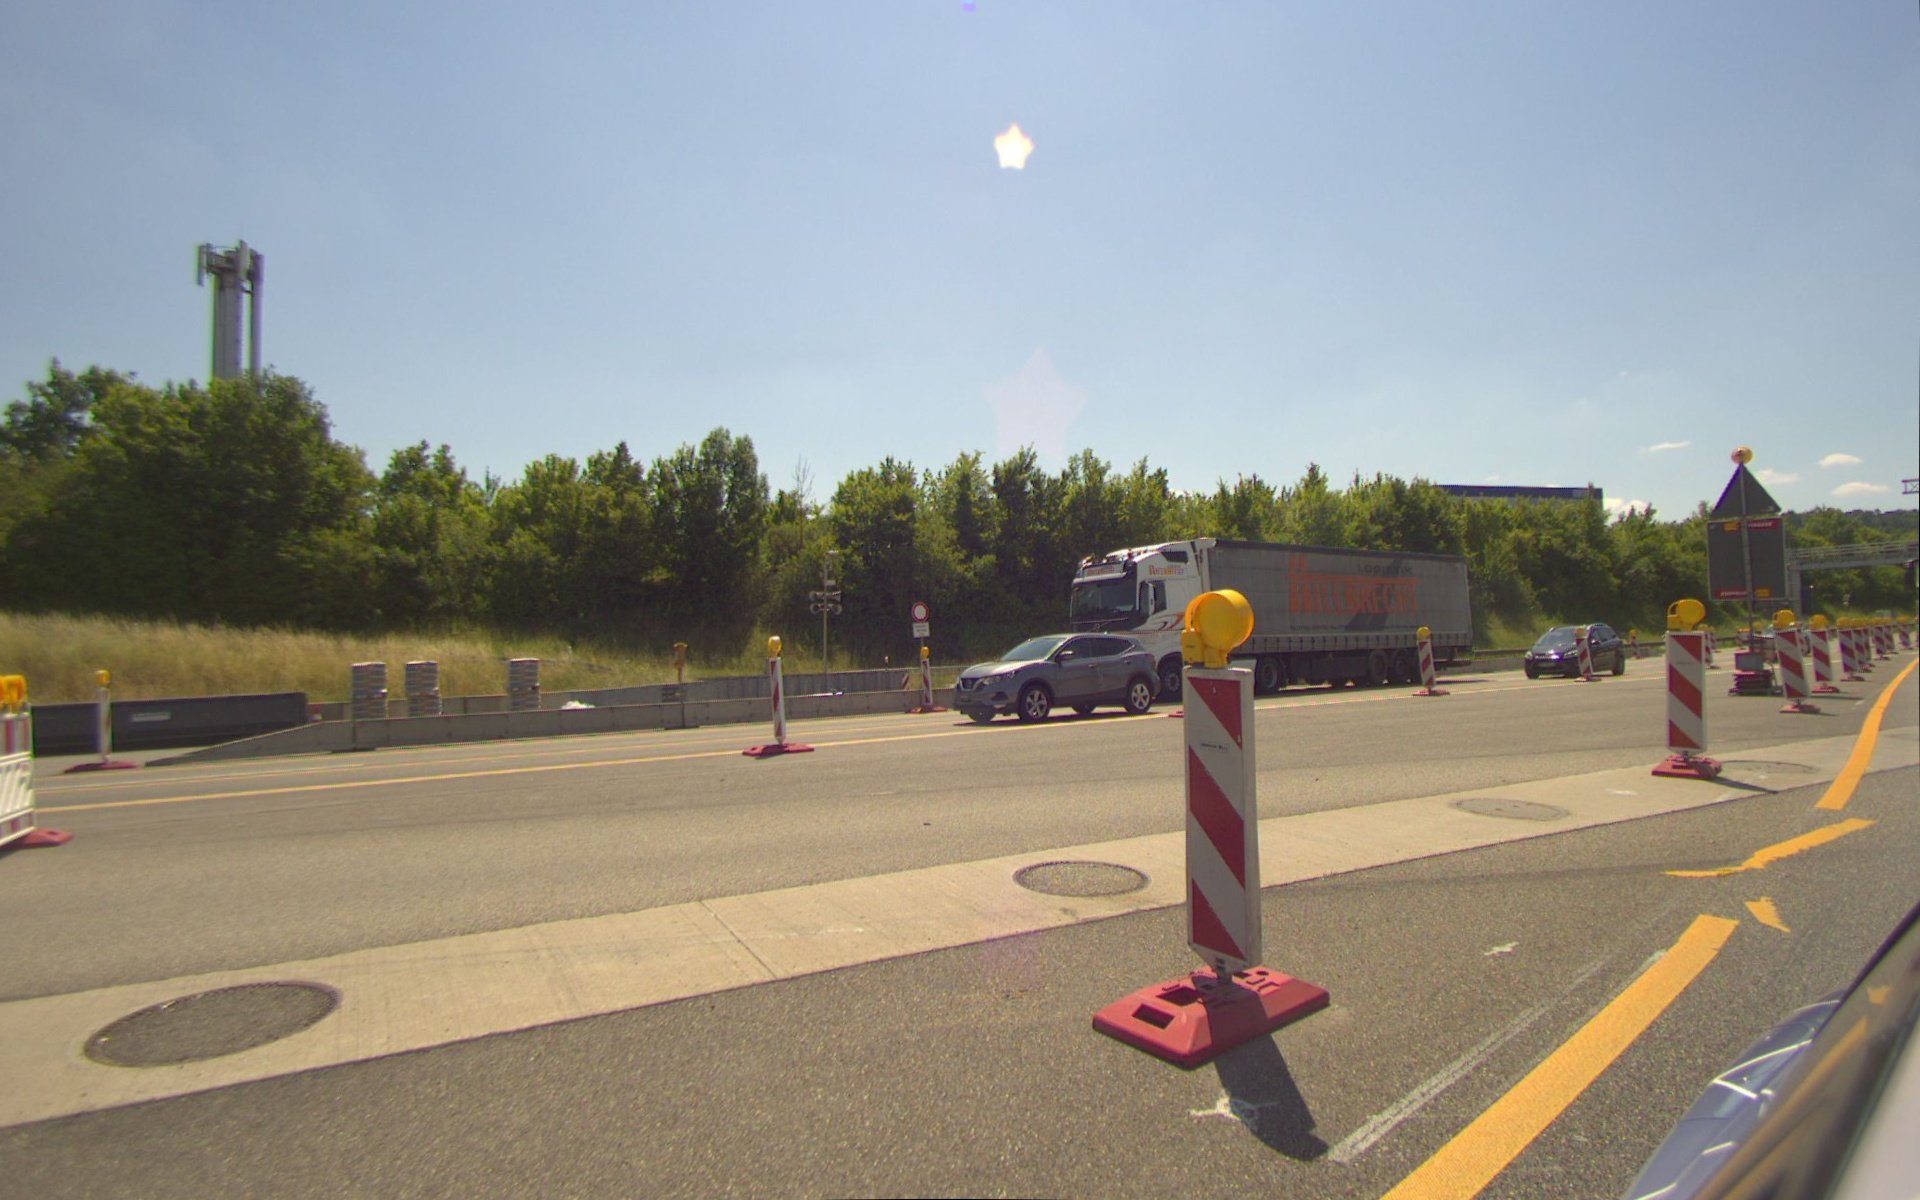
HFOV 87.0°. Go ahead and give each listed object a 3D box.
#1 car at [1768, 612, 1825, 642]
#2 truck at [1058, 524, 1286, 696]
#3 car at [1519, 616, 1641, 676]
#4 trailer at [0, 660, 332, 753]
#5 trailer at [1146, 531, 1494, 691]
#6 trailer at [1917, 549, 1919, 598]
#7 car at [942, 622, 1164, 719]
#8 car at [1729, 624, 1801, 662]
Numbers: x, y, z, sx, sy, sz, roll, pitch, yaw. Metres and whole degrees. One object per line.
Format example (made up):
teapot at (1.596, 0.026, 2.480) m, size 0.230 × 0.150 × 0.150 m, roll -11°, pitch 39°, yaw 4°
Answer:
car at (52.436, 1.683, 63.419) m, size 4.412 × 1.718 × 1.818 m, roll 0°, pitch -4°, yaw -39°
truck at (5.533, 0.332, 26.147) m, size 5.493 × 4.003 × 2.533 m, roll 0°, pitch -5°, yaw -36°
car at (20.004, 1.463, 32.582) m, size 4.411 × 1.718 × 1.818 m, roll 0°, pitch -4°, yaw -38°
trailer at (-17.763, 2.262, 22.573) m, size 6.123 × 1.589 × 2.600 m, roll 0°, pitch -2°, yaw -39°
trailer at (11.332, 0.366, 30.446) m, size 13.609 × 4.005 × 2.546 m, roll 0°, pitch -5°, yaw -37°
trailer at (34.702, 0.046, 34.068) m, size 3.226 × 3.716 × 17.147 m, roll -5°, pitch -5°, yaw 43°
car at (1.792, 1.287, 19.066) m, size 3.955 × 1.573 × 1.710 m, roll 0°, pitch -4°, yaw -35°
car at (40.365, 2.144, 50.728) m, size 4.412 × 1.718 × 1.818 m, roll 0°, pitch -5°, yaw -39°
